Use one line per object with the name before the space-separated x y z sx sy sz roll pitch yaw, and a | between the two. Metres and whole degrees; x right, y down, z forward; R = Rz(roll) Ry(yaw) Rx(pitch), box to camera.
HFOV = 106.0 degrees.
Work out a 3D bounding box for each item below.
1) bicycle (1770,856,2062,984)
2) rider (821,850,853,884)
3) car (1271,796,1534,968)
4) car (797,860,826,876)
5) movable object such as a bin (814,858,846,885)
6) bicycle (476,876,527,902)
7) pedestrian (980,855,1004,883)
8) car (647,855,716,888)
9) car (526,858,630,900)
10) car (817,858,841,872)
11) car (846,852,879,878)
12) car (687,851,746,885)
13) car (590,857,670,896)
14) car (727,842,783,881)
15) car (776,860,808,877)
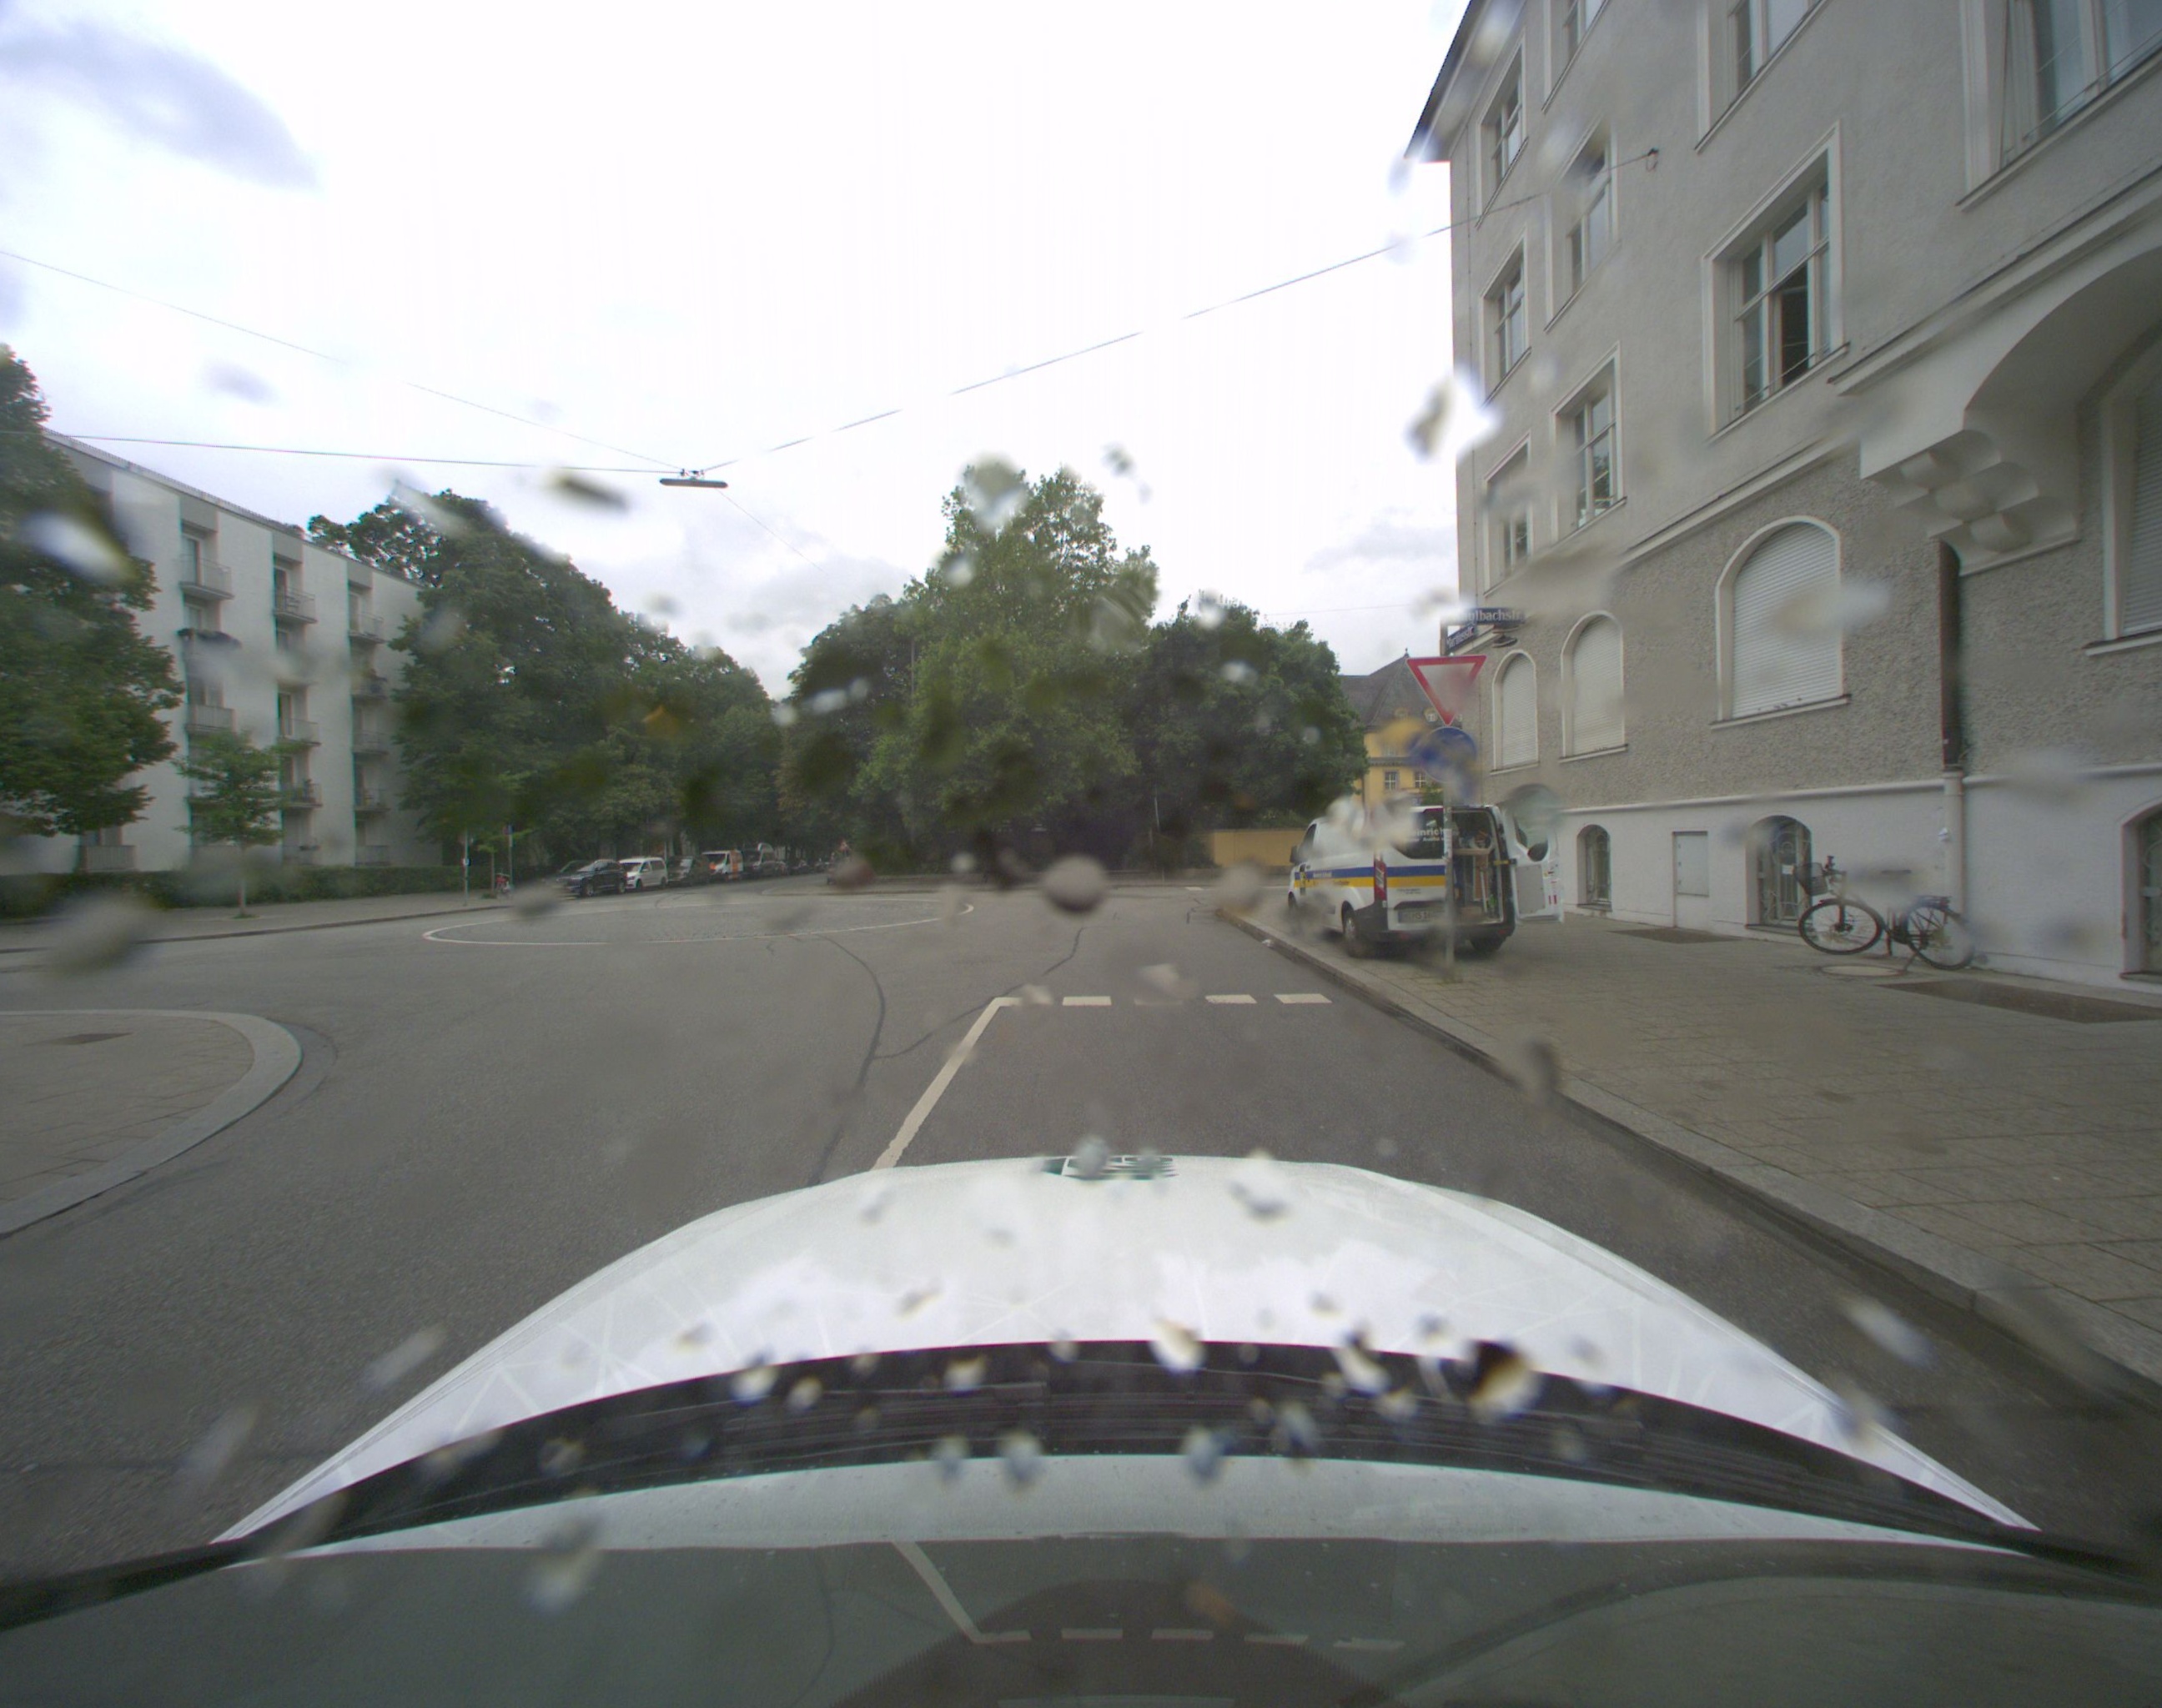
bicycle | 8.497 0.599 8.486 0.692 1.094 2.283 -4 0 2
rider | -12.739 0.680 42.562 1.076 1.667 1.142 -4 0 8
car | 4.423 0.315 12.197 1.910 1.962 4.926 -3 0 0
car | -28.405 1.508 85.961 1.893 1.571 4.067 -1 0 -5
movable object such as a bin | -12.849 0.890 41.717 1.072 1.267 1.089 -4 0 8
bicycle | -25.696 1.523 36.166 0.909 1.051 1.969 -1 0 -3
pedestrian | -3.841 0.641 35.184 0.807 1.189 0.921 -2 0 7
car | -24.491 1.023 50.169 2.061 1.859 4.979 -1 0 -4
car | -23.415 1.096 38.155 2.061 1.767 4.900 -1 0 -4
car | -30.076 1.305 97.184 1.893 1.571 4.067 -1 0 -5
car | -17.315 0.848 64.725 2.041 1.922 4.431 -2 0 -10
car | -25.546 0.952 57.300 2.107 2.251 5.187 -1 0 -4
car | -24.004 1.124 43.556 1.923 1.894 4.858 -1 0 -5
car | -26.557 0.595 66.617 2.330 2.922 6.569 -1 0 -4
car | -27.439 1.370 77.459 1.893 1.538 4.067 -1 0 -5
